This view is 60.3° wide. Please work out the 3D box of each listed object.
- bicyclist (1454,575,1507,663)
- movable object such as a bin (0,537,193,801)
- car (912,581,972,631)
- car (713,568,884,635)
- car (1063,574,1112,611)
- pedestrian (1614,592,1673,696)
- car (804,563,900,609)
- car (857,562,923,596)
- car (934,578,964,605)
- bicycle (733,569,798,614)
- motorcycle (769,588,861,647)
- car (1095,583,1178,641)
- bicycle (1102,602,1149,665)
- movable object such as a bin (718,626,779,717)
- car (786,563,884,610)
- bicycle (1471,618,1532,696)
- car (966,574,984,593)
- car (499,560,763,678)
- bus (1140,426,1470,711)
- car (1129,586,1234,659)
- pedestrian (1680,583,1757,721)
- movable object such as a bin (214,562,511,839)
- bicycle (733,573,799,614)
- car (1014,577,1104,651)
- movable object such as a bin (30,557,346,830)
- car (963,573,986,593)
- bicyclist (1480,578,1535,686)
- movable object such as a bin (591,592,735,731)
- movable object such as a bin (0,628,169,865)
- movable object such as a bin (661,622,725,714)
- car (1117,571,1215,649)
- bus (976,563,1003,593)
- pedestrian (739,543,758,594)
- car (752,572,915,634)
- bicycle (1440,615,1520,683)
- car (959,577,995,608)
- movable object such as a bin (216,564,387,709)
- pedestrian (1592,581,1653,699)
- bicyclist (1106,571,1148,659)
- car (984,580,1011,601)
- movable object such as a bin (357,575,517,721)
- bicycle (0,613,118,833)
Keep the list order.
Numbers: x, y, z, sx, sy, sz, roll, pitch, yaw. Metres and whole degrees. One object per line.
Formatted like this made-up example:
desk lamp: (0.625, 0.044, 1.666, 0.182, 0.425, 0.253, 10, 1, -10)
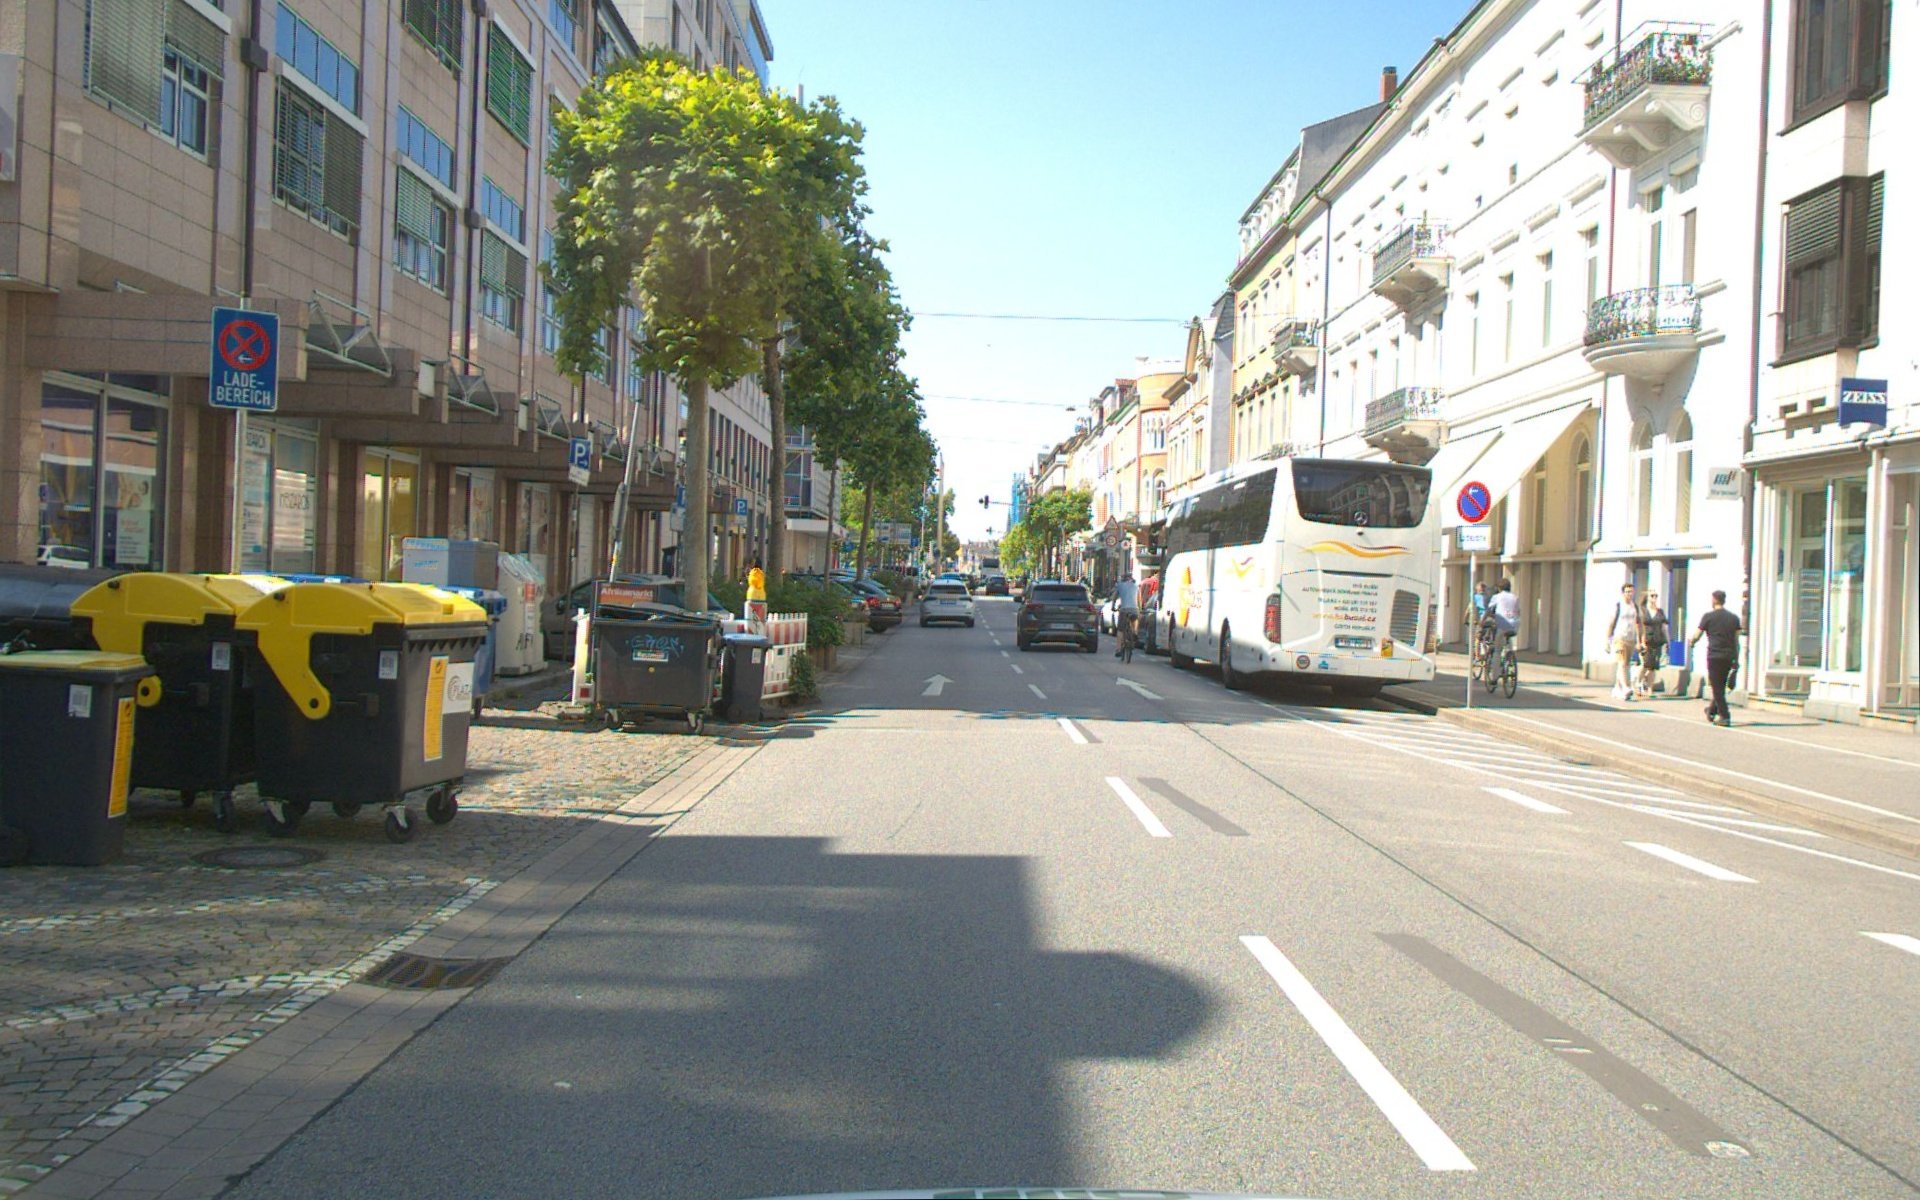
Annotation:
bicyclist: (9.394, 0.336, 29.893, 0.608, 1.556, 0.869, 2, 0, -2)
movable object such as a bin: (-5.774, 0.376, 10.333, 1.183, 1.475, 1.365, 4, 1, 5)
car: (-0.564, 0.159, 54.053, 1.825, 1.466, 4.001, 2, 1, 0)
car: (-4.442, 0.024, 44.945, 4.675, 1.559, 1.978, 4, 1, 43)
car: (5.638, -0.311, 73.393, 1.796, 1.554, 3.999, 1, -1, -1)
pedestrian: (11.170, 0.713, 27.050, 0.632, 1.645, 0.822, 2, -1, 3)
car: (-4.945, -0.662, 75.655, 3.911, 1.594, 1.698, 7, 1, 25)
car: (-5.210, -1.584, 122.846, 4.640, 2.037, 1.931, 6, 0, 40)
car: (-0.640, -0.512, 95.893, 1.707, 1.466, 4.000, 2, 1, -1)
bicycle: (-6.388, -0.271, 54.327, 2.026, 1.310, 0.367, 5, 0, -8)
motorcycle: (-3.259, 0.380, 37.100, 1.871, 1.190, 0.760, 3, 1, 21)
car: (5.372, 0.332, 50.826, 1.777, 1.491, 4.579, 4, 2, -3)
bicycle: (3.345, 0.653, 33.580, 0.651, 1.139, 2.243, 4, 1, 0)
movable object such as a bin: (-2.338, 0.783, 18.260, 0.547, 0.955, 0.496, 0, 1, -26)
car: (-5.223, -0.555, 69.261, 3.910, 1.525, 1.716, 6, 0, -4)
bicycle: (8.618, 0.892, 26.376, 0.582, 1.140, 1.802, 2, 1, 8)
car: (1.587, -1.746, 173.623, 1.825, 1.882, 3.999, 1, -1, -1)
car: (-5.093, 0.251, 25.363, 3.986, 1.520, 1.924, 4, 2, 41)
bus: (5.527, -0.518, 29.443, 2.823, 3.806, 12.424, 4, 1, -1)
car: (5.249, 0.478, 39.829, 1.821, 1.495, 5.226, 4, 1, 1)
pedestrian: (9.863, 0.677, 21.524, 0.607, 1.750, 0.835, 2, -2, 2)
movable object such as a bin: (-3.555, 0.545, 10.001, 1.100, 1.475, 1.440, 4, 1, 6)
bicycle: (-6.292, -0.210, 53.639, 2.026, 1.150, 0.463, 5, 0, -8)
car: (2.238, 0.300, 38.277, 1.795, 1.554, 4.000, 2, 0, 0)
movable object such as a bin: (-4.655, 0.511, 10.103, 1.100, 1.475, 1.440, 4, 1, 6)
car: (1.200, -1.432, 140.546, 1.825, 1.466, 3.999, 1, -1, -1)
bicyclist: (8.619, 0.496, 26.053, 0.679, 1.654, 0.836, 1, 0, 11)
movable object such as a bin: (-2.988, 0.603, 16.725, 1.251, 1.322, 0.853, 2, 0, 0)
movable object such as a bin: (-4.624, 0.740, 8.585, 0.709, 1.117, 0.655, 3, 1, -8)
movable object such as a bin: (-2.903, 0.729, 18.010, 0.488, 0.955, 0.556, 1, 1, 16)
car: (5.590, 0.220, 45.368, 1.791, 1.895, 4.351, 4, 1, -4)
bus: (3.717, -2.871, 211.500, 2.715, 3.667, 8.969, 2, 1, -3)
pedestrian: (-7.010, -1.046, 54.779, 0.555, 1.686, 0.636, 2, 1, -6)
car: (-3.703, 0.062, 47.926, 4.710, 1.447, 1.873, 5, 2, 40)
bicycle: (9.375, 0.856, 29.915, 0.608, 1.118, 2.352, 2, 0, -2)
car: (0.845, -0.414, 84.389, 1.707, 1.466, 4.000, 2, 1, -1)
movable object such as a bin: (-6.572, 0.345, 16.576, 1.184, 1.322, 1.127, 4, 1, 0)
pedestrian: (10.506, 0.629, 26.244, 0.561, 1.809, 1.020, 2, -1, 3)
bicyclist: (3.402, 0.291, 33.759, 0.680, 1.702, 0.916, 4, 2, 1)
car: (2.779, -0.690, 122.343, 1.825, 1.466, 4.000, 2, 1, -1)
movable object such as a bin: (-5.207, 0.456, 16.542, 1.184, 1.321, 1.080, 4, 2, 0)
bicycle: (-5.737, 0.623, 9.032, 1.928, 1.140, 0.509, 3, -1, -4)
